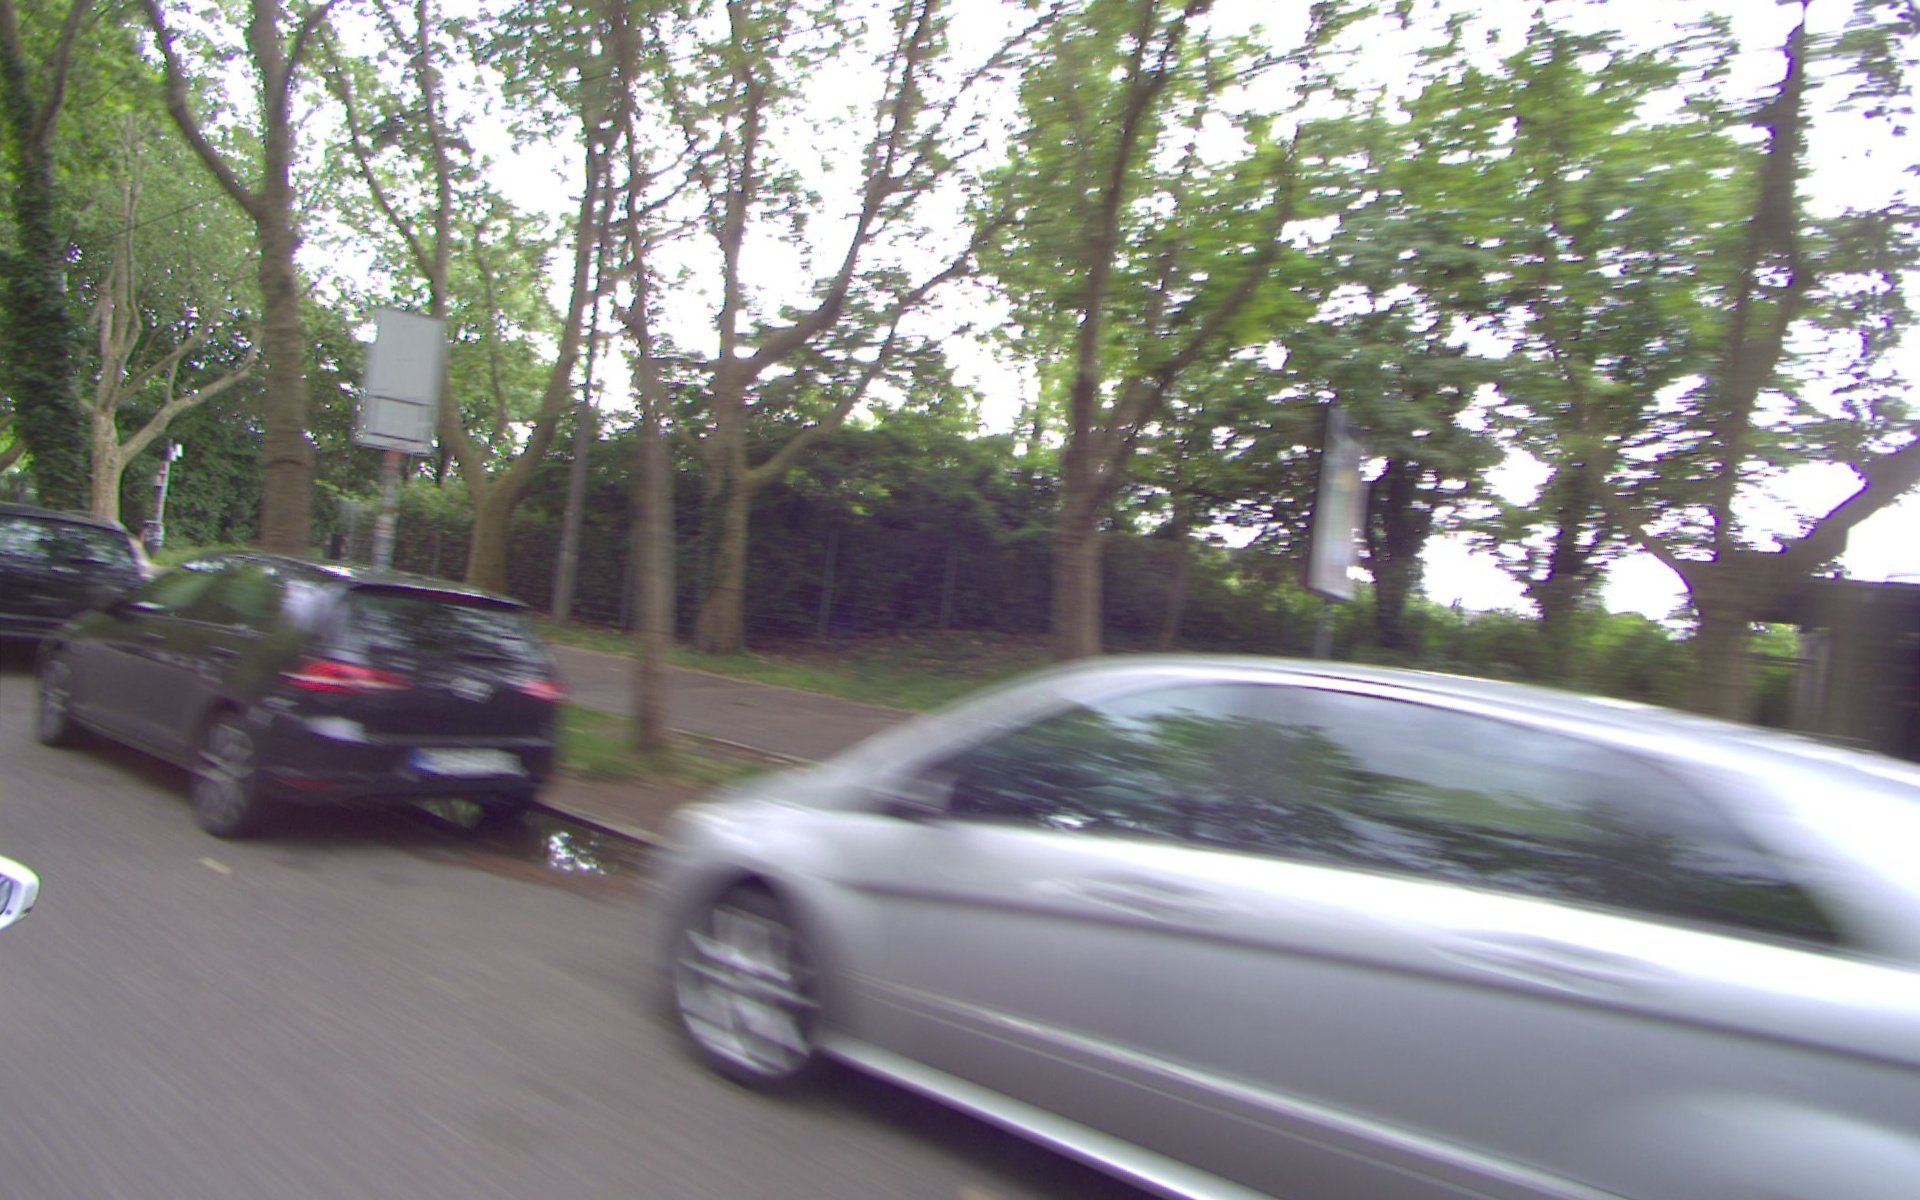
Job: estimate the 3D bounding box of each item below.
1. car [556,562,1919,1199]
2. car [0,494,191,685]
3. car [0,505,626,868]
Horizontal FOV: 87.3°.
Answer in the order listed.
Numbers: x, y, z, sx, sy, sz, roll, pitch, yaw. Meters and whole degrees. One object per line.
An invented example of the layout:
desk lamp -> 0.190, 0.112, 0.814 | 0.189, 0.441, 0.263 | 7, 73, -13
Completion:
car -> 0.848, 0.989, 3.300 | 4.155, 1.635, 1.783 | 7, -3, 32
car -> -9.852, -0.284, 10.110 | 4.323, 1.570, 1.782 | 7, -3, 31
car -> -4.276, 0.392, 6.463 | 4.084, 1.487, 1.742 | 7, -3, 34
